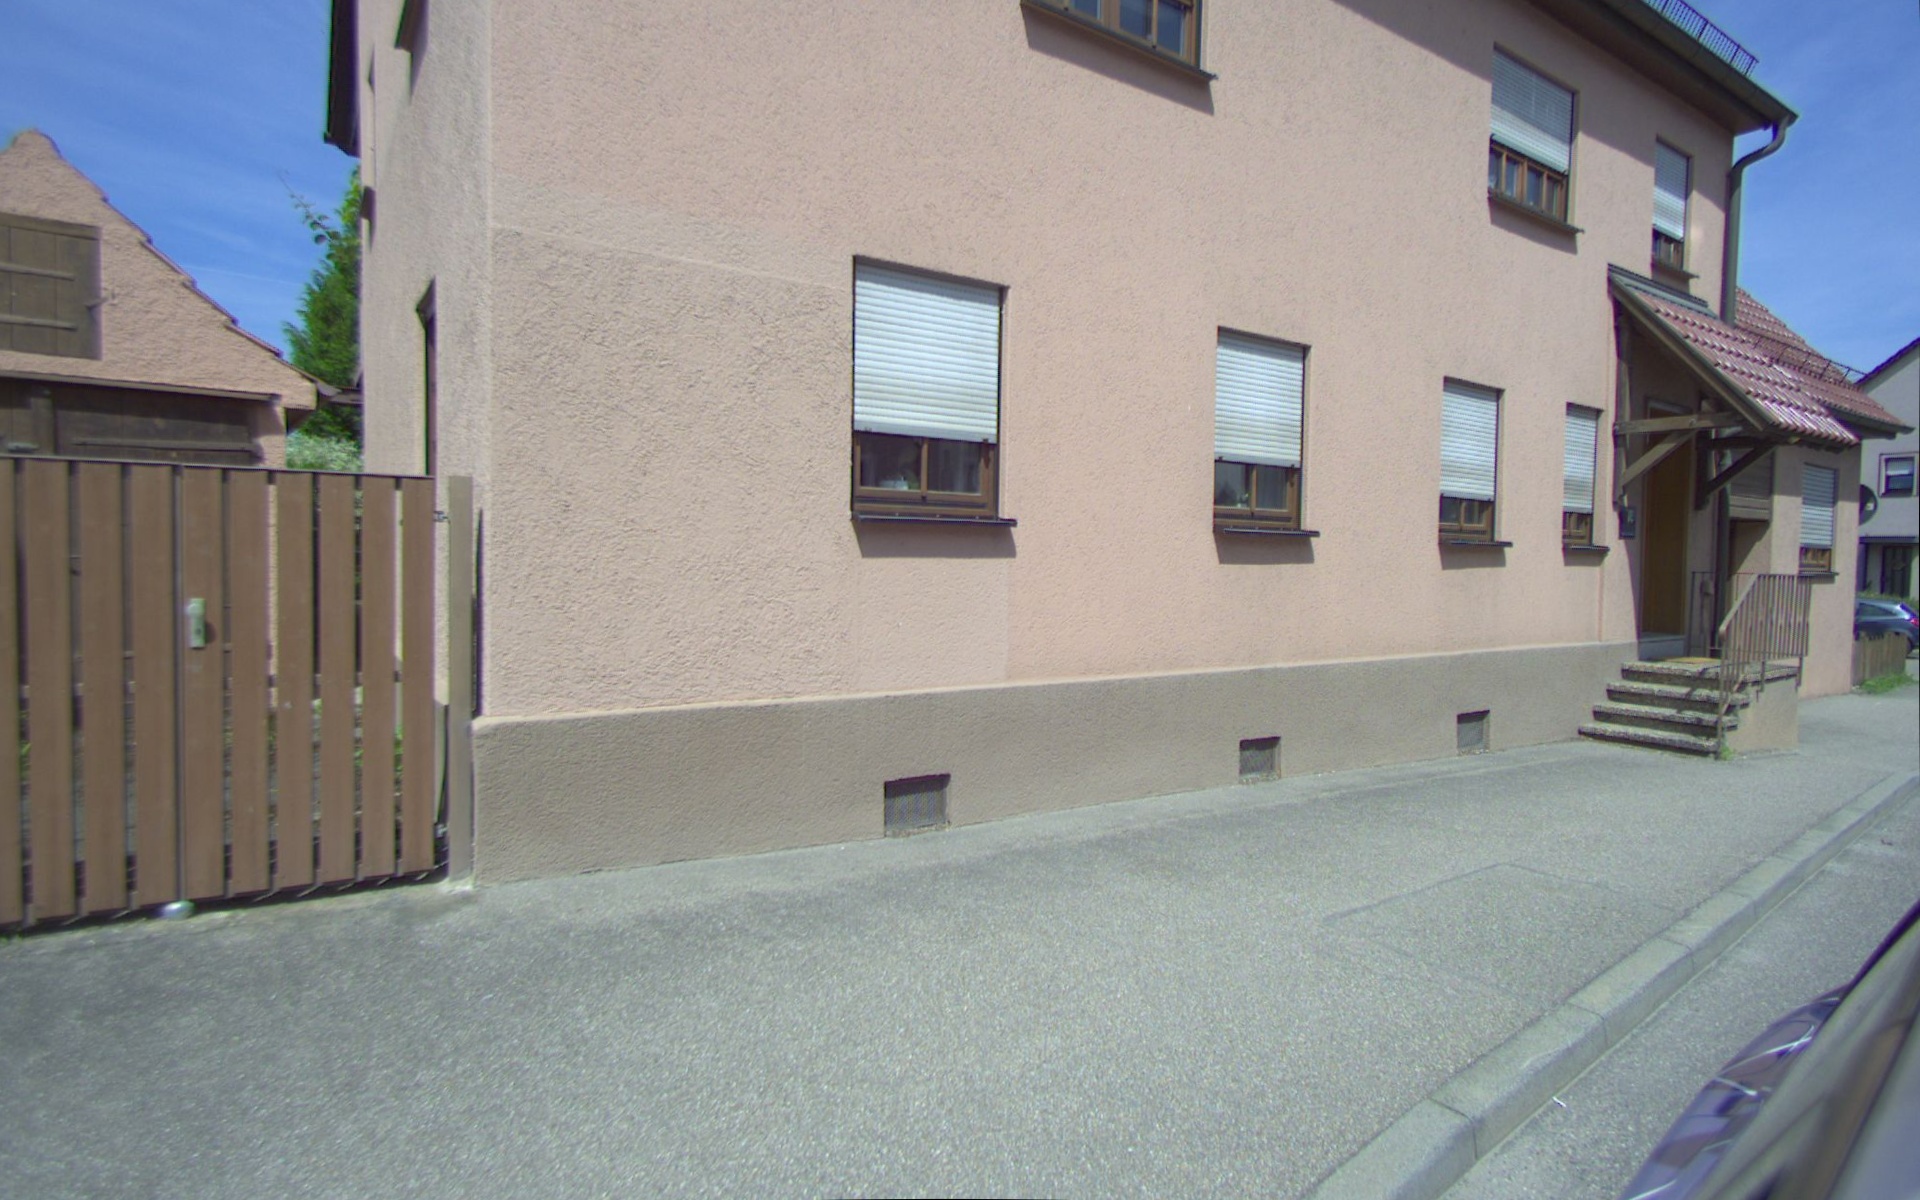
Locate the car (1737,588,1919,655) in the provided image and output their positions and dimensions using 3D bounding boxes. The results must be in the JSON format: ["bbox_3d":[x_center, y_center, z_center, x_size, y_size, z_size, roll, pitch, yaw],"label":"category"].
[{"bbox_3d":[22.832,0.510,26.395,1.858,1.506,3.808,0,2,-43],"label":"car"}]
